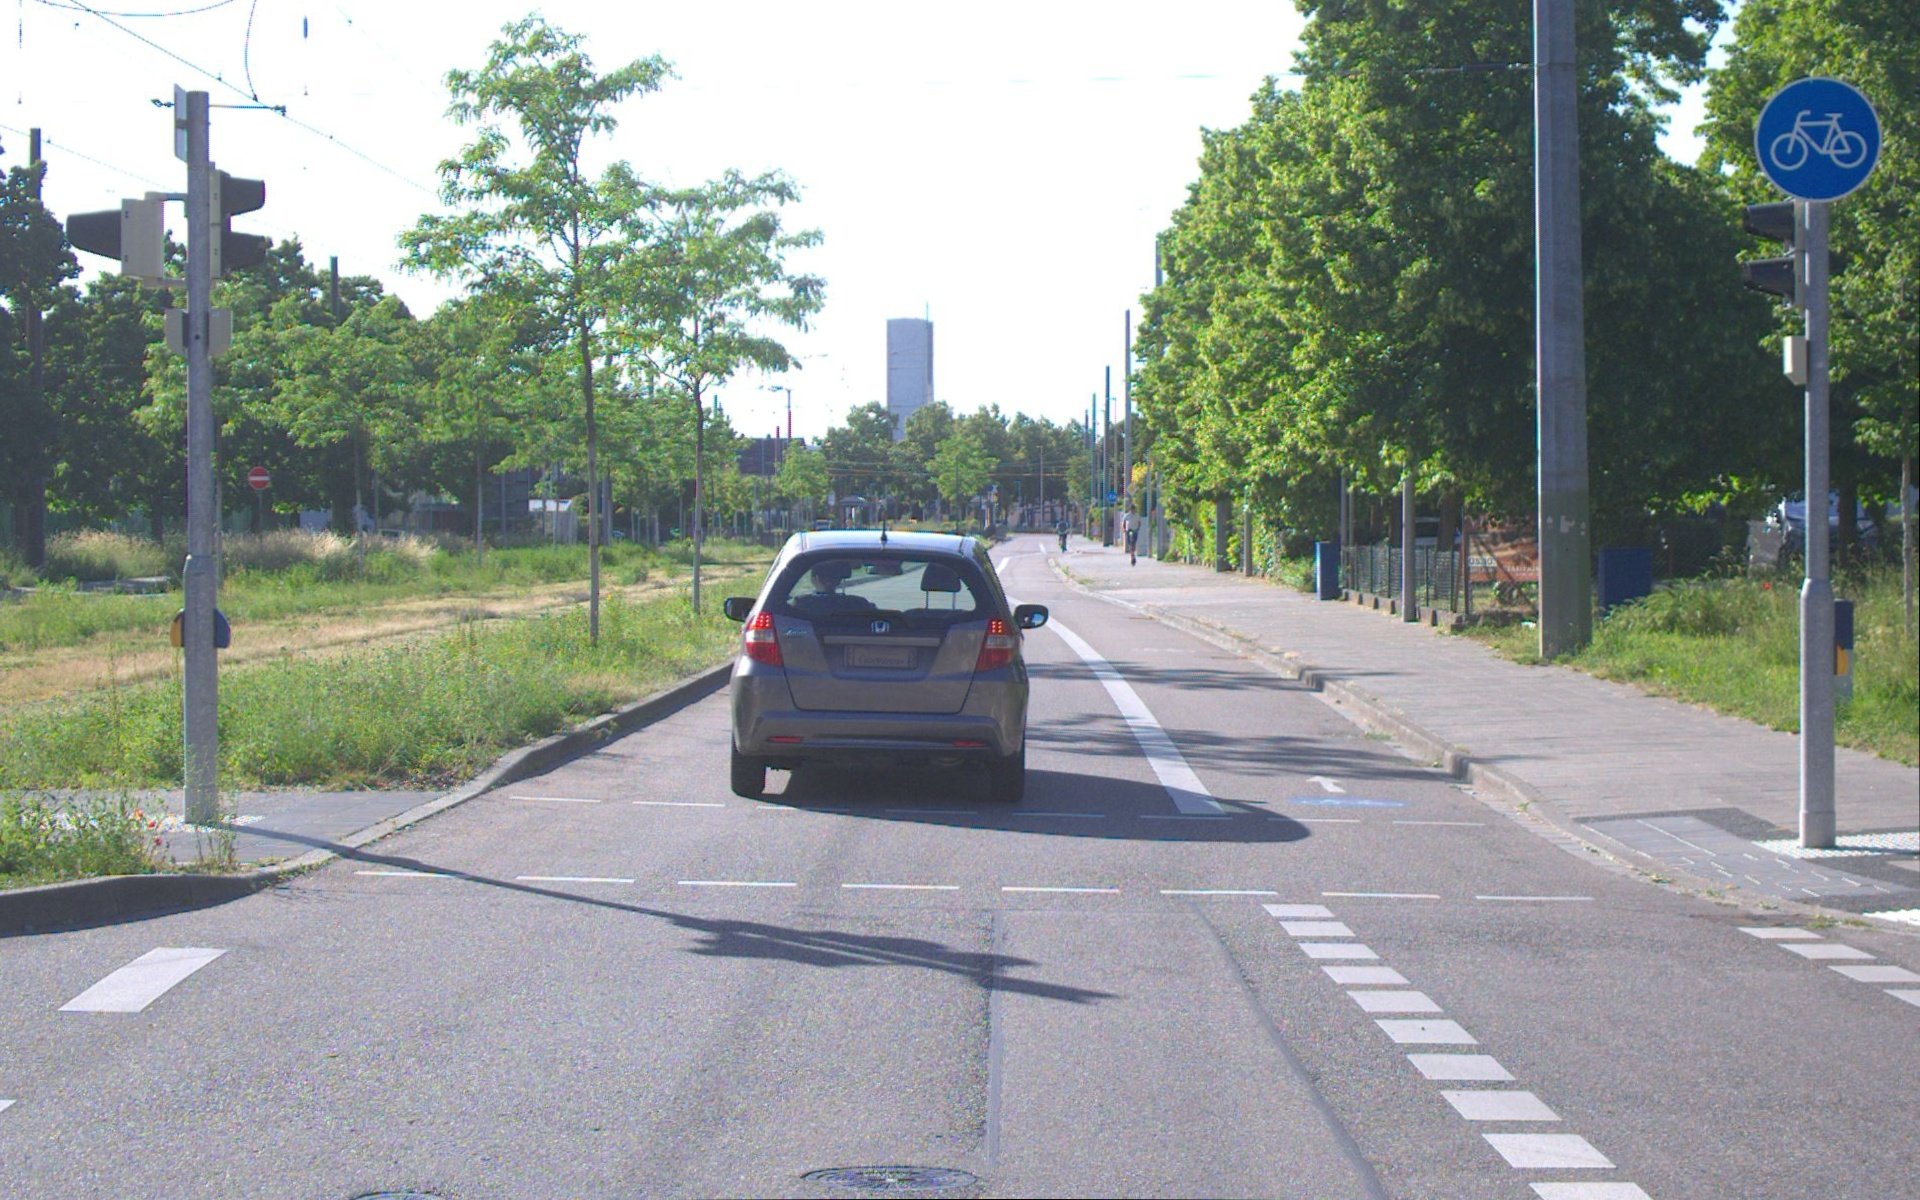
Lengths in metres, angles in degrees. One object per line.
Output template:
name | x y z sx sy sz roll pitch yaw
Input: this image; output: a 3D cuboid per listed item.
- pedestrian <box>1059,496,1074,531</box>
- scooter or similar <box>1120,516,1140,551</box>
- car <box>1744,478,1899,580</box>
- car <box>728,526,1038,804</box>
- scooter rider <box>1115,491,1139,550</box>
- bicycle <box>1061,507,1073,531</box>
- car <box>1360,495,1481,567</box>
pedestrian | 5.536 -4.505 179.316 0.722 1.794 1.164 0 1 0
scooter or similar | 5.458 -2.132 110.324 0.539 1.114 1.417 0 1 -1
car | 17.330 -1.447 69.402 1.872 1.960 5.167 1 1 1
car | -0.384 0.317 20.471 1.624 1.494 3.457 1 1 2
scooter rider | 5.355 -2.540 110.231 0.716 1.894 0.935 0 1 -1
bicycle | 5.575 -4.213 179.428 0.512 1.237 3.090 0 1 0
car | 9.333 -1.410 69.896 1.774 1.382 3.871 -1 1 -2
